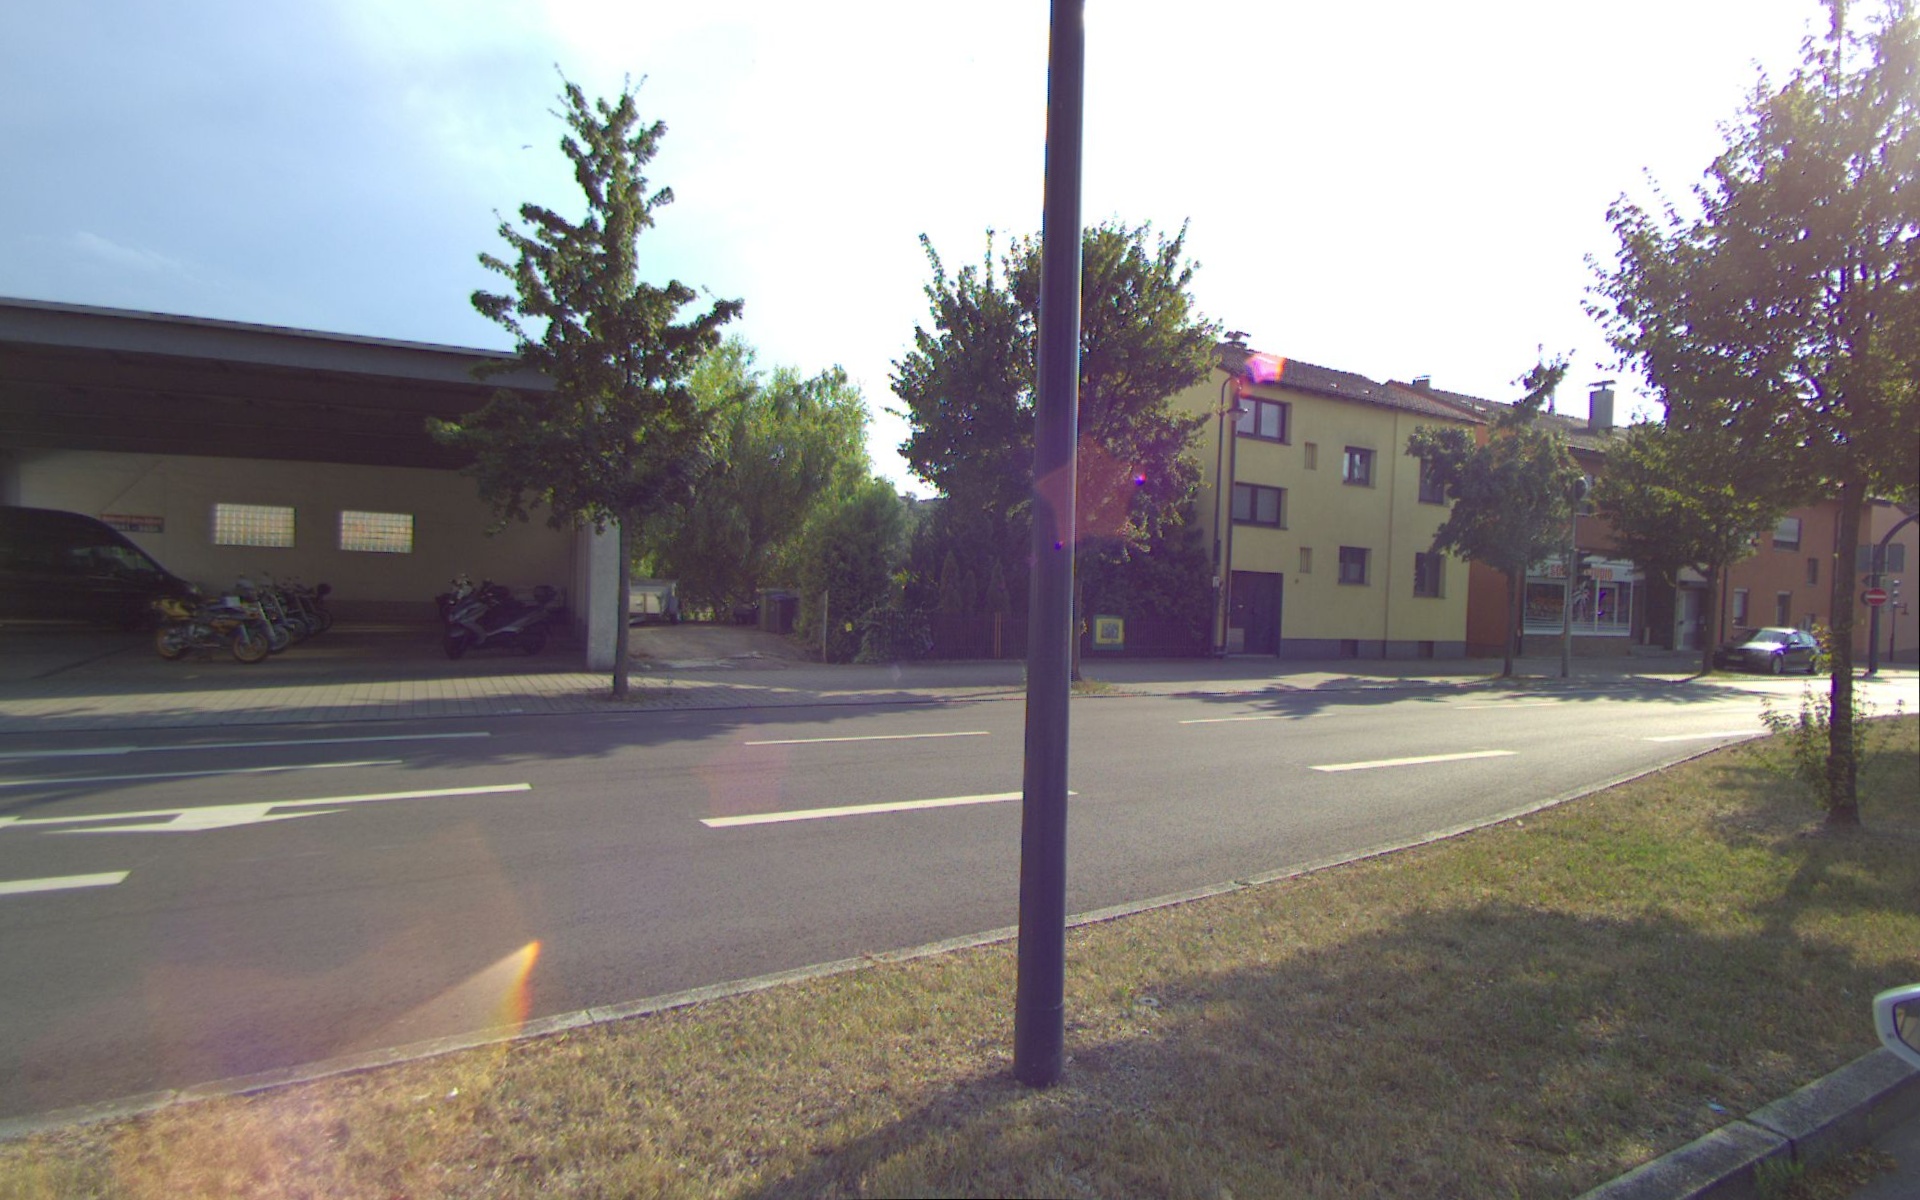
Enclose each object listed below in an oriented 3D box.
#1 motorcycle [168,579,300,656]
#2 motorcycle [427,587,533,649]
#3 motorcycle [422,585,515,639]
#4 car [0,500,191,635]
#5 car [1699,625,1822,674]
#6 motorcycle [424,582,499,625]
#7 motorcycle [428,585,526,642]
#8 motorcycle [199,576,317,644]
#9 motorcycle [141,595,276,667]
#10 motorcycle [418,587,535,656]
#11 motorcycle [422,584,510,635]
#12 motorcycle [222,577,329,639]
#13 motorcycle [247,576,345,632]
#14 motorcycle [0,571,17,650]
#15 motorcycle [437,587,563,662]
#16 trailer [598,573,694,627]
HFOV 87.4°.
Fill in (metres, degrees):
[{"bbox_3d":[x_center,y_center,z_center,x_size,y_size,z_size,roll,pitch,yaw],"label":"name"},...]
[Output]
[{"bbox_3d":[-13.627,0.315,18.867,2.219,1.354,0.631,1,0,10],"label":"motorcycle"},{"bbox_3d":[-10.737,0.380,22.542,0.621,1.314,2.113,1,2,36],"label":"motorcycle"},{"bbox_3d":[-12.644,0.288,25.925,0.621,1.314,2.113,1,2,36],"label":"motorcycle"},{"bbox_3d":[-20.447,-0.686,22.096,1.962,2.789,5.280,1,0,26],"label":"car"},{"bbox_3d":[25.974,1.594,32.561,3.953,1.319,1.728,1,4,-30],"label":"car"},{"bbox_3d":[-15.955,0.096,32.181,0.621,1.314,2.113,1,2,36],"label":"motorcycle"},{"bbox_3d":[-11.762,0.308,24.542,0.621,1.314,2.113,1,2,36],"label":"motorcycle"},{"bbox_3d":[-14.748,0.201,21.109,2.219,1.354,0.631,1,0,10],"label":"motorcycle"},{"bbox_3d":[-12.491,0.500,16.702,1.993,1.101,0.631,1,0,12],"label":"motorcycle"},{"bbox_3d":[-9.807,0.398,20.464,0.621,1.314,2.113,1,2,36],"label":"motorcycle"},{"bbox_3d":[-13.508,0.236,27.523,0.621,1.314,2.113,1,2,36],"label":"motorcycle"},{"bbox_3d":[-15.879,0.178,23.318,2.219,1.354,0.631,1,0,10],"label":"motorcycle"},{"bbox_3d":[-16.904,0.098,25.577,2.219,1.354,0.631,1,0,10],"label":"motorcycle"},{"bbox_3d":[-17.282,0.165,16.729,0.619,1.380,2.225,1,0,24],"label":"motorcycle"},{"bbox_3d":[-8.614,0.427,18.902,0.621,1.314,2.113,1,2,36],"label":"motorcycle"},{"bbox_3d":[-8.212,-0.010,26.622,1.698,1.280,3.995,1,0,-7],"label":"trailer"}]
